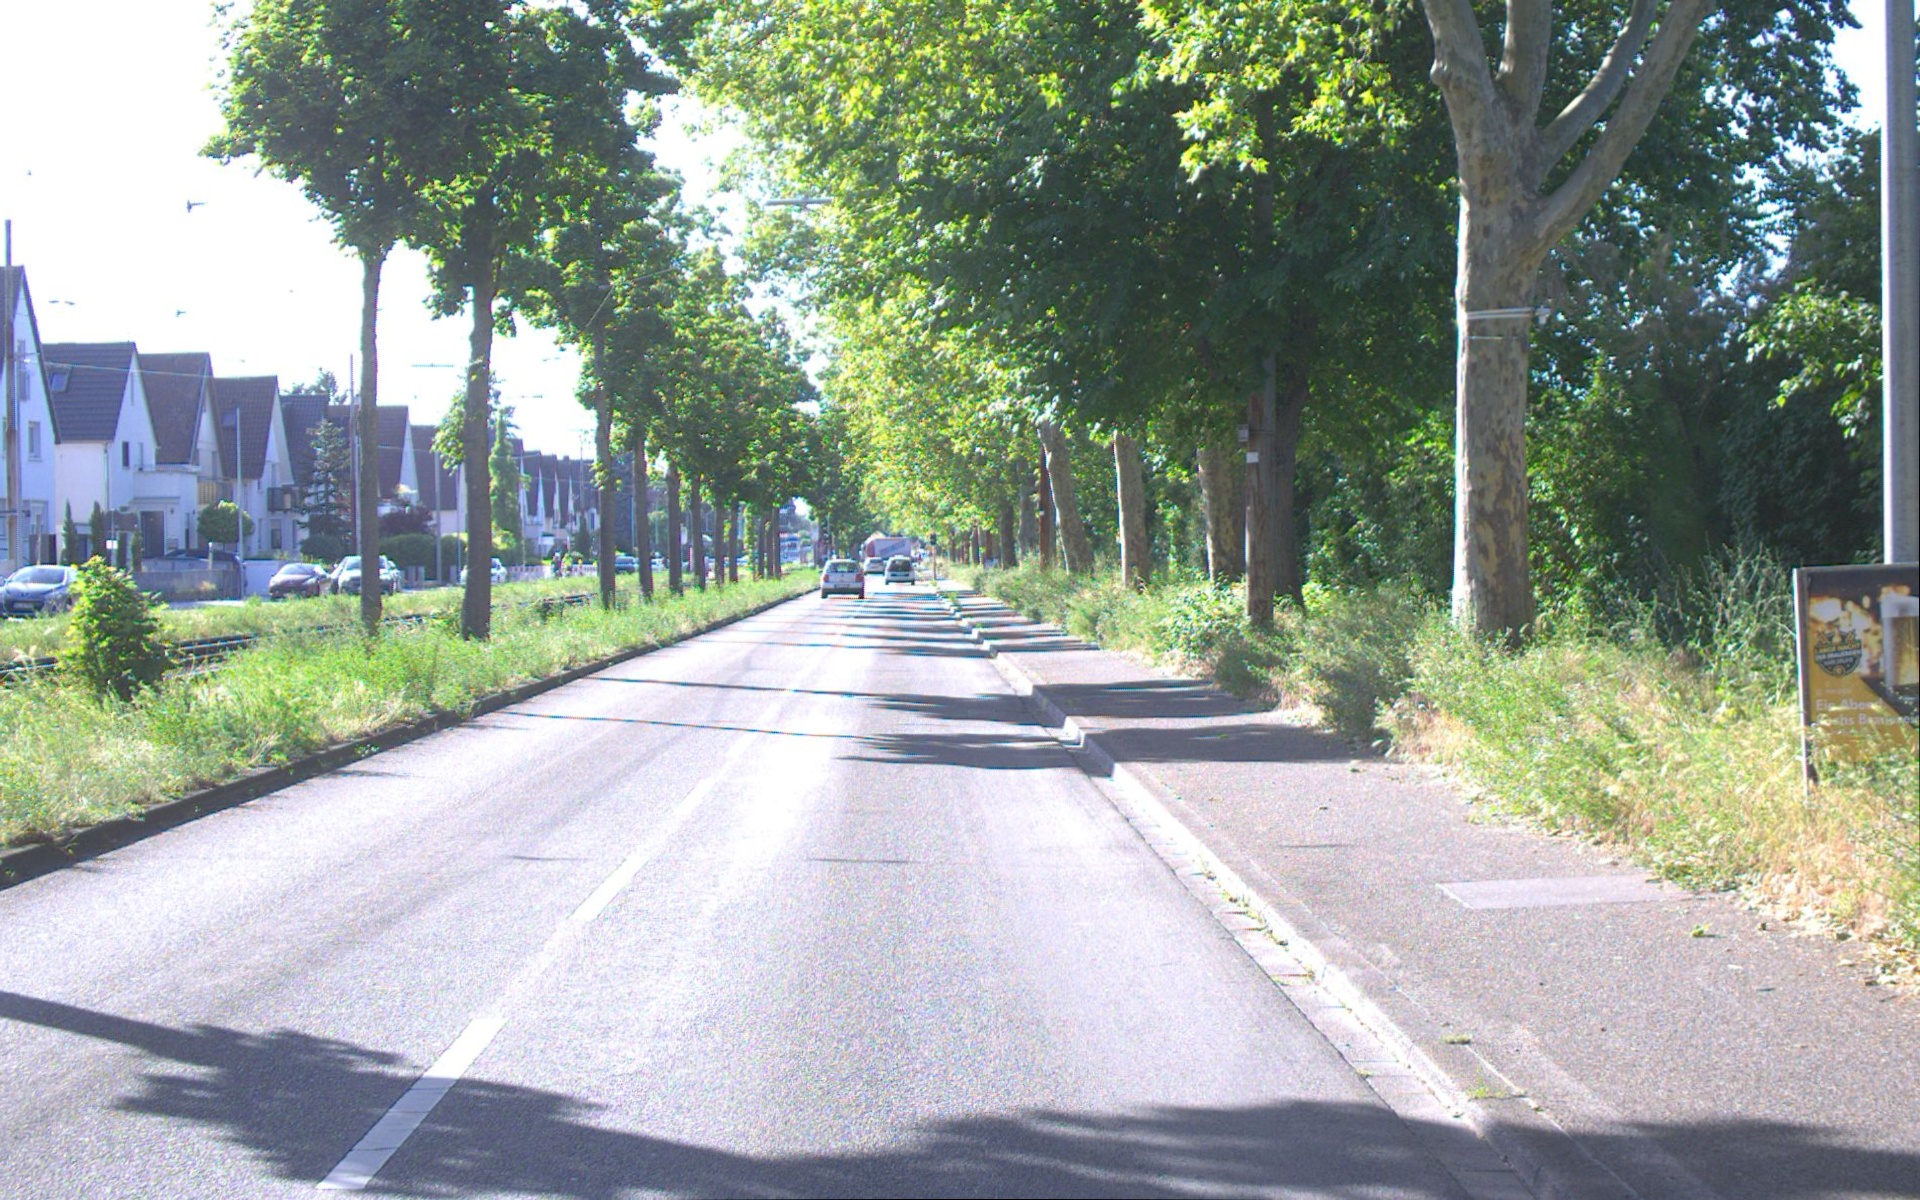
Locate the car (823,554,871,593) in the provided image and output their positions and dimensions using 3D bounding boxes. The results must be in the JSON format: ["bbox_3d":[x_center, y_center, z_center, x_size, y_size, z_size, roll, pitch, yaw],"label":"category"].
[{"bbox_3d":[-4.206,-0.982,128.315,1.738,1.396,3.277,1,0,-1],"label":"car"}]

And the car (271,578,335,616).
[{"bbox_3d":[-23.791,-0.090,124.592,1.494,1.321,4.000,1,0,1],"label":"car"}]

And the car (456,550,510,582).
[{"bbox_3d":[-25.030,-1.779,180.497,1.994,1.593,4.731,1,0,3],"label":"car"}]

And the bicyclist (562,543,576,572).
[{"bbox_3d":[-22.370,-2.437,196.684,0.688,1.646,0.881,1,0,-1],"label":"bicyclist"}]

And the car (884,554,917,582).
[{"bbox_3d":[-3.313,-1.763,192.291,1.761,1.508,3.277,1,0,0],"label":"car"}]

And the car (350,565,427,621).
[{"bbox_3d":[-19.971,-0.231,120.265,1.915,1.876,4.523,1,0,0],"label":"car"}]

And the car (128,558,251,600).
[{"bbox_3d":[-28.664,-0.780,127.945,4.212,1.458,1.938,1,0,-4],"label":"car"}]

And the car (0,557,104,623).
[{"bbox_3d":[-23.131,-0.279,86.614,1.993,1.576,4.498,1,1,0],"label":"car"}]

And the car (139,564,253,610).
[{"bbox_3d":[-29.150,-0.497,131.281,3.986,1.664,2.000,1,0,-4],"label":"car"}]
